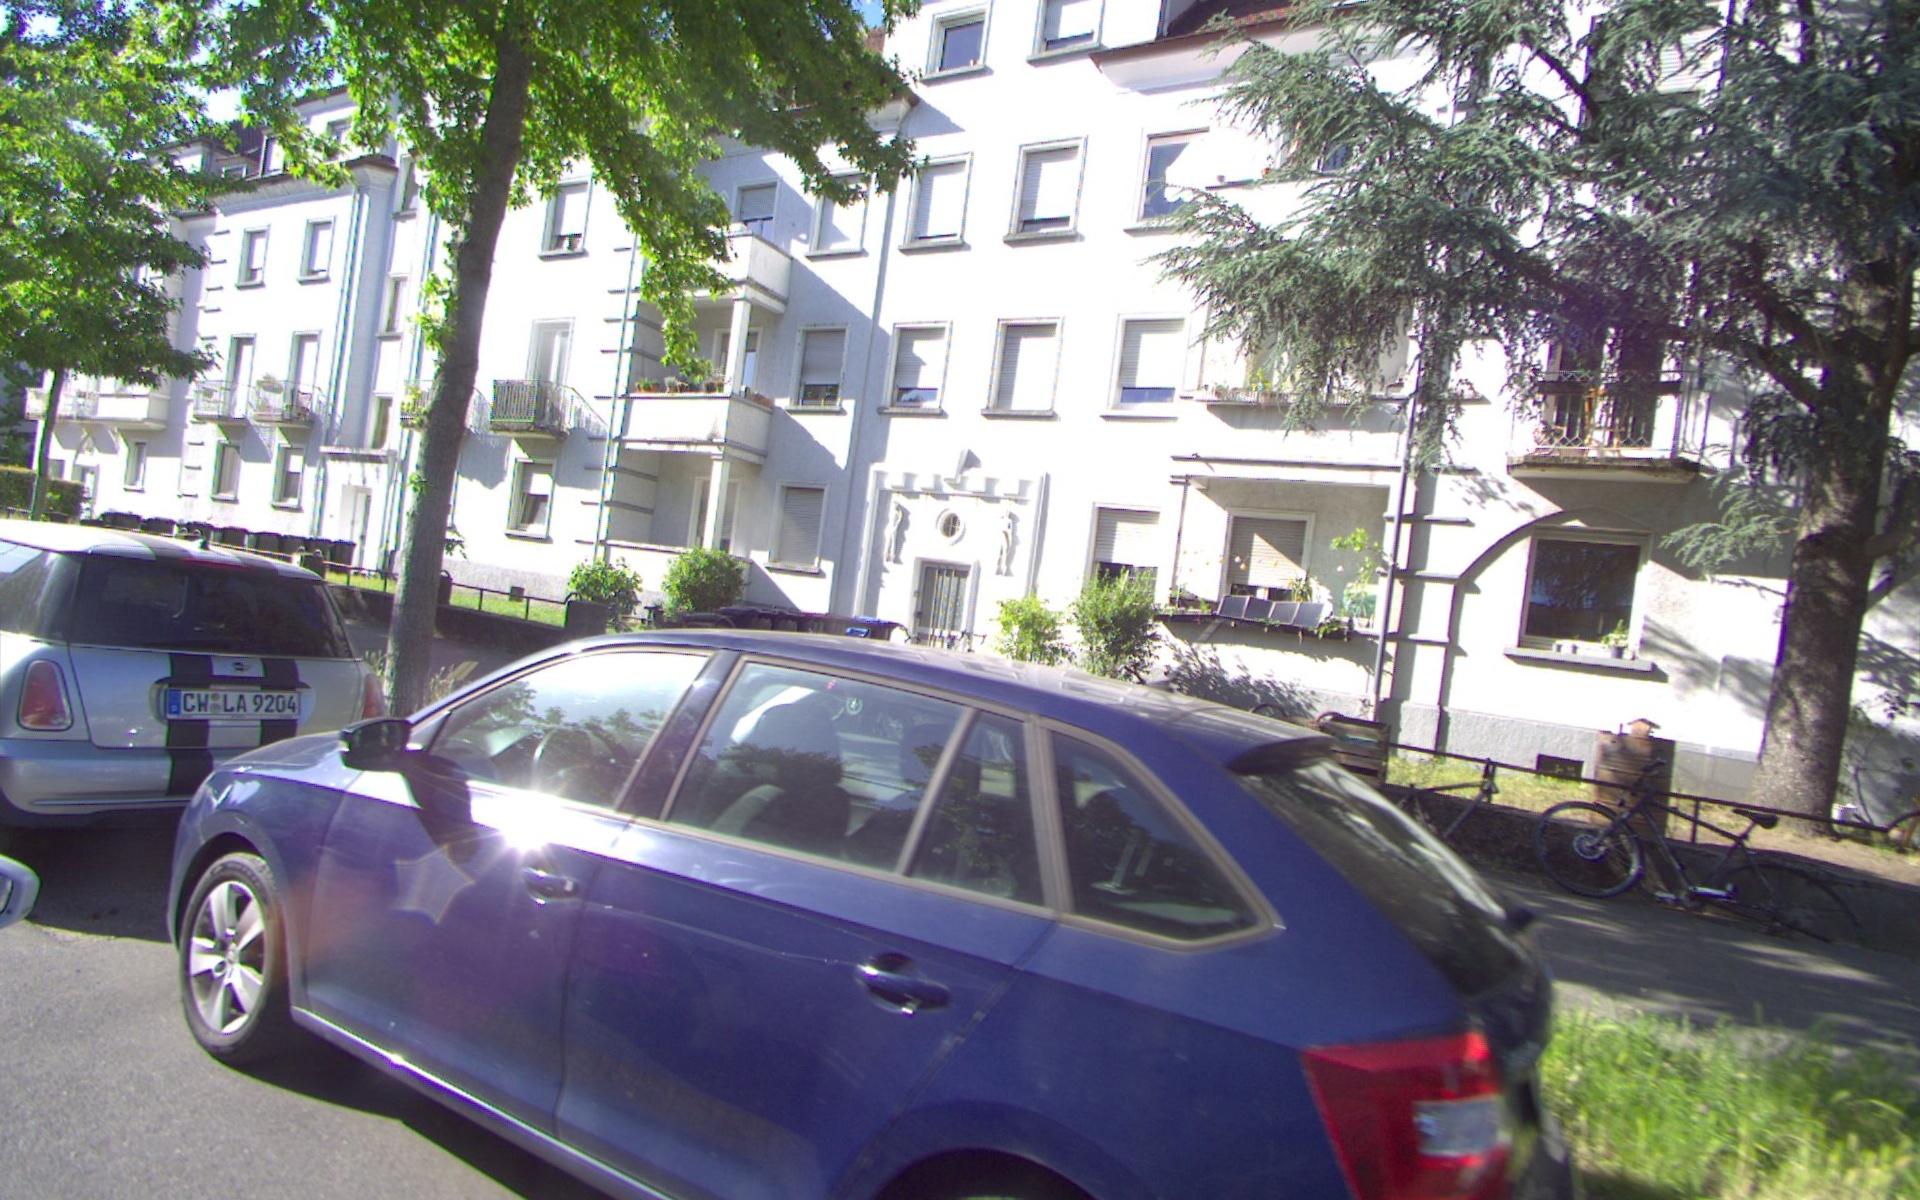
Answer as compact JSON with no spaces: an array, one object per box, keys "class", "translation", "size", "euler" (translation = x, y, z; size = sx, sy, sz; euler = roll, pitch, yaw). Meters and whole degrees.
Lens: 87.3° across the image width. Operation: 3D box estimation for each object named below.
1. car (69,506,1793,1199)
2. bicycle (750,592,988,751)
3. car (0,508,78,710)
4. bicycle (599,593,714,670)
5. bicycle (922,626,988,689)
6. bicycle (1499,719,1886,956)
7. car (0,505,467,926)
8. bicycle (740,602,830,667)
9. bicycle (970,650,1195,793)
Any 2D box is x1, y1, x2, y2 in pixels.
[{"class":"car","translation":[-0.601,0.791,2.999],"size":[4.366,1.559,1.696],"euler":[8,-1,30]},{"class":"bicycle","translation":[-0.951,0.707,10.349],"size":[2.192,1.272,0.840],"euler":[7,0,27]},{"class":"car","translation":[-9.450,-0.248,8.126],"size":[4.619,1.490,1.903],"euler":[7,-3,29]},{"class":"bicycle","translation":[-4.270,0.444,14.260],"size":[0.492,0.984,1.580],"euler":[8,3,30]},{"class":"bicycle","translation":[-0.067,0.986,17.623],"size":[0.467,0.984,1.582],"euler":[7,2,23]},{"class":"bicycle","translation":[4.950,1.560,7.014],"size":[1.965,1.129,0.806],"euler":[7,0,27]},{"class":"car","translation":[-4.615,0.319,5.225],"size":[3.717,1.470,1.793],"euler":[7,-1,30]},{"class":"bicycle","translation":[-2.879,0.575,16.702],"size":[0.467,0.984,1.579],"euler":[8,3,32]},{"class":"bicycle","translation":[1.100,1.071,9.235],"size":[1.871,0.969,0.596],"euler":[7,1,30]}]
